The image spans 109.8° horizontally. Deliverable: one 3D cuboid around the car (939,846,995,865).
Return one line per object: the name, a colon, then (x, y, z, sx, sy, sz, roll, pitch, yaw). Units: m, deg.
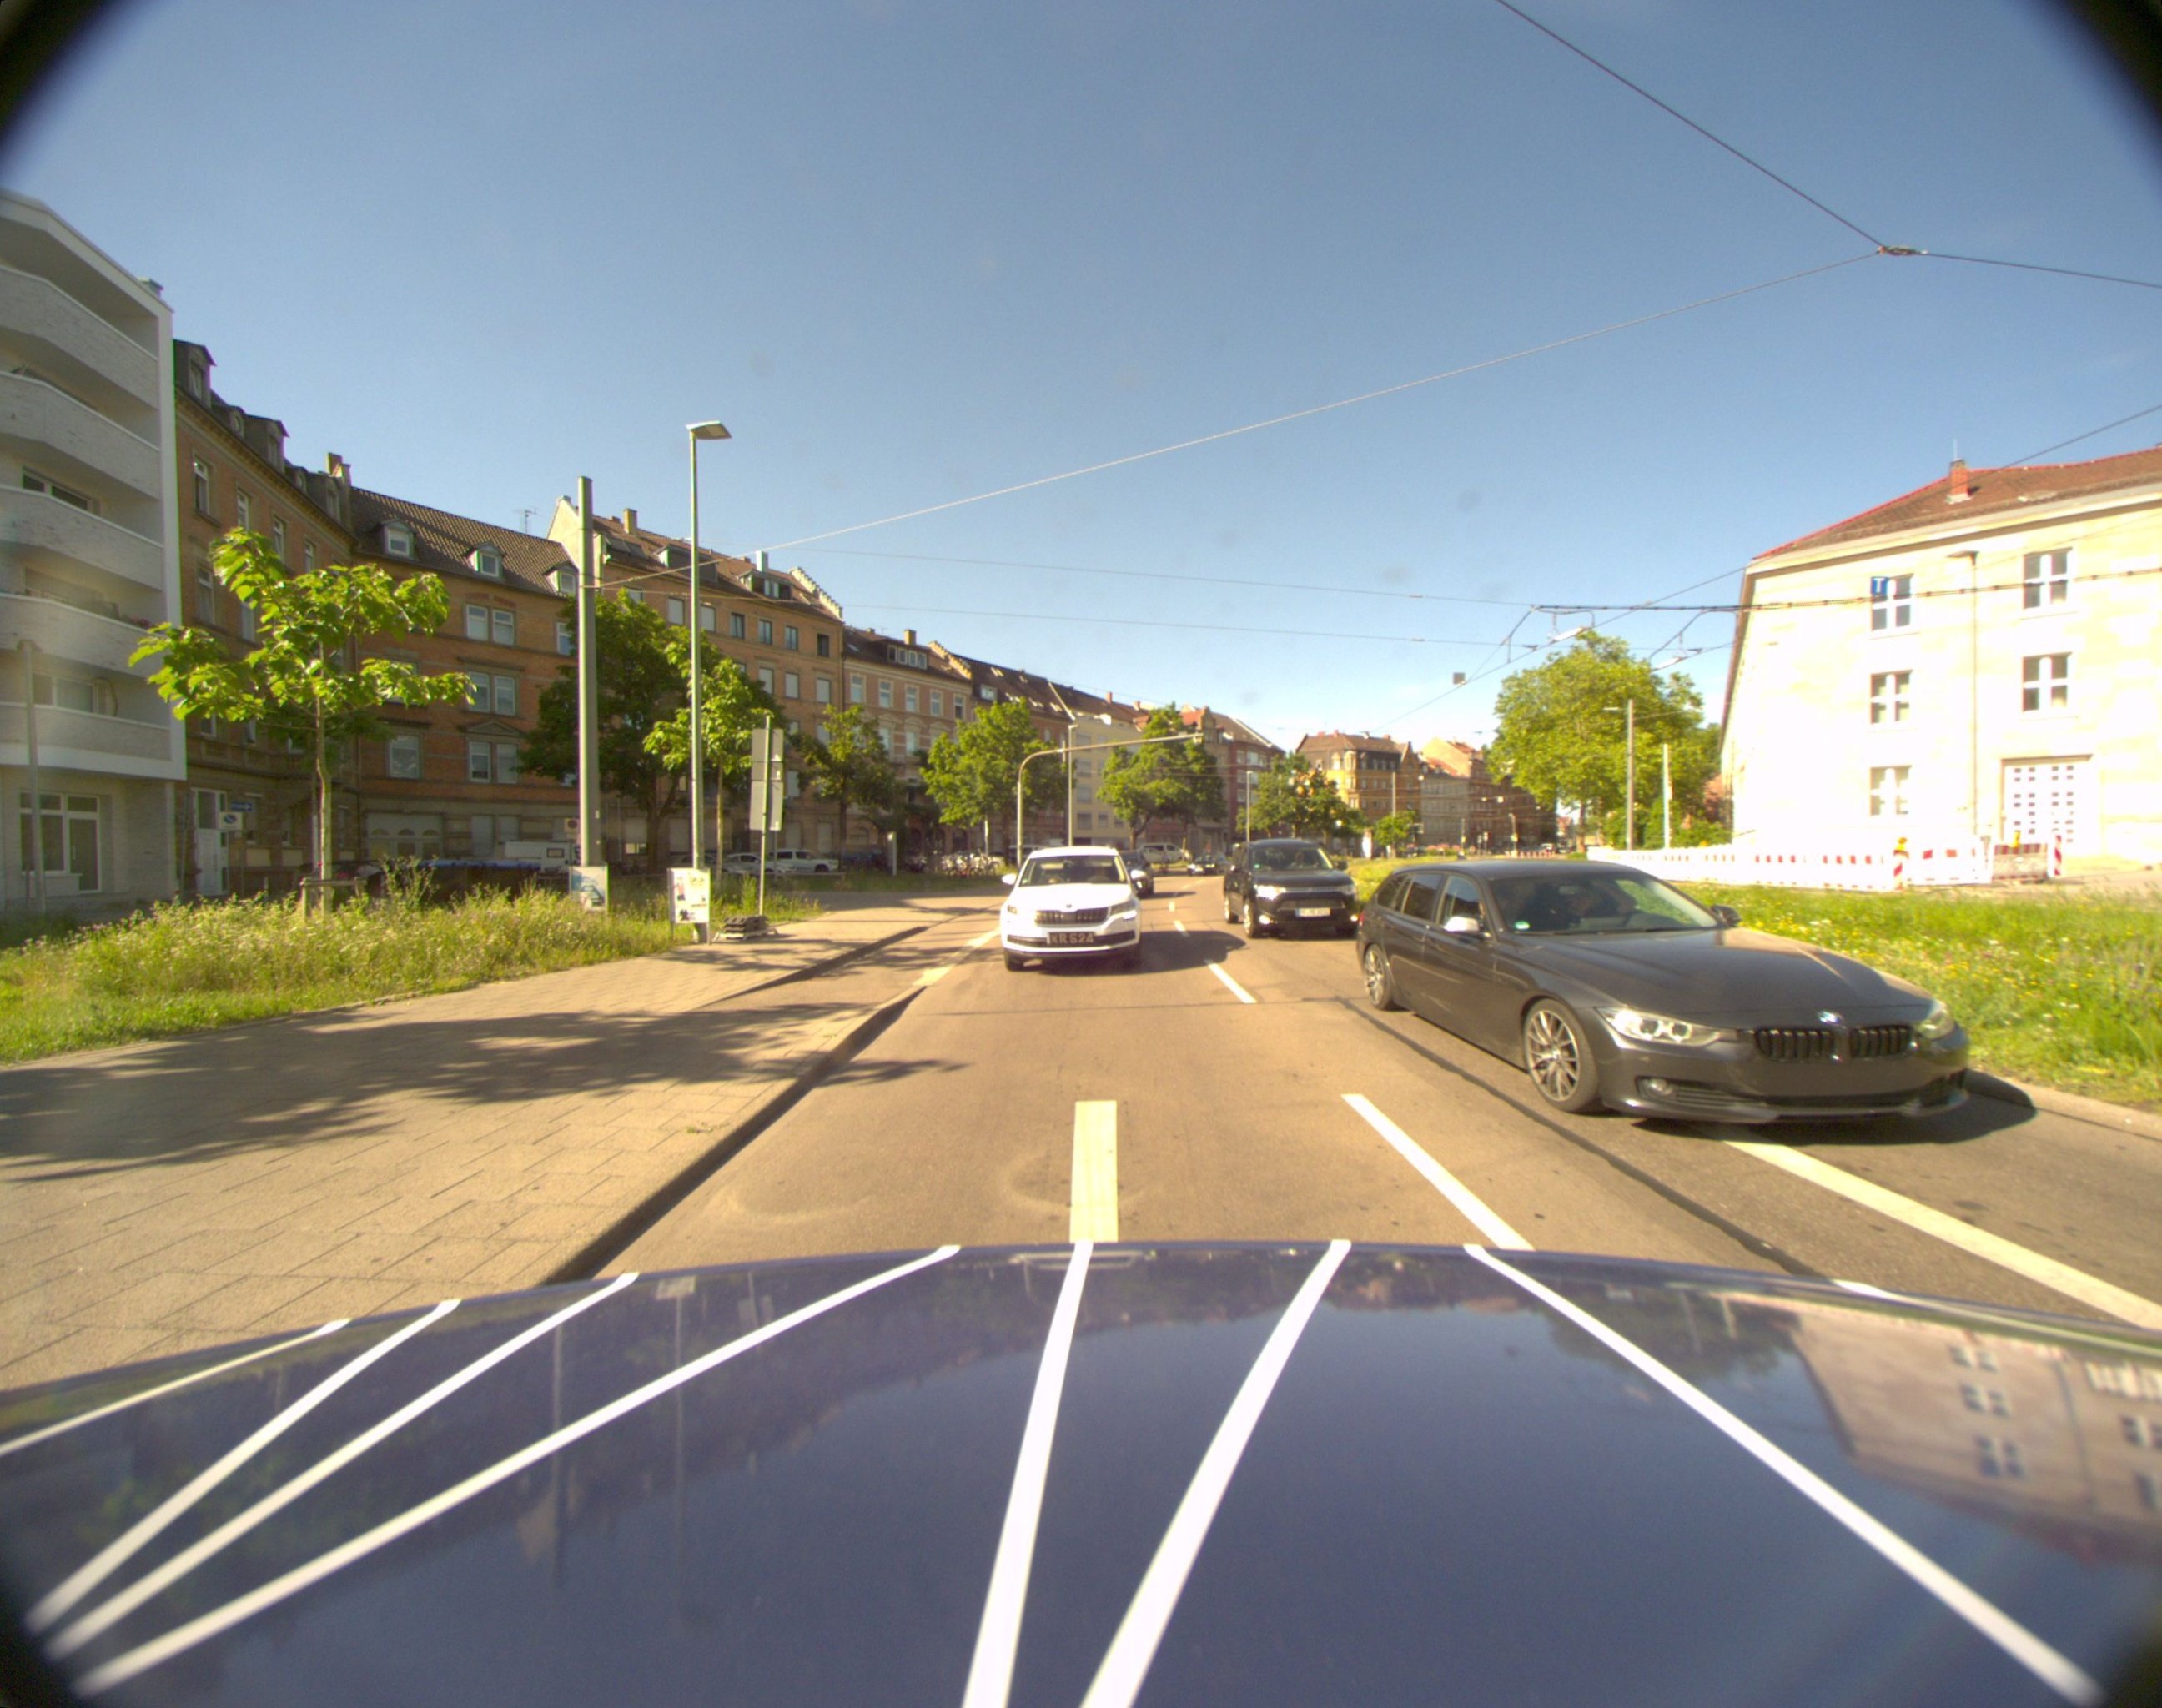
car: (-9.350, 0.123, 62.871, 1.994, 1.520, 4.522, 2, 1, 35)

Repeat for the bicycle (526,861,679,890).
bicycle: (-21.545, 0.928, 34.431, 2.676, 1.120, 5.232, -1, 1, 34)

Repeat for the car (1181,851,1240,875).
car: (8.224, 0.535, 47.949, 1.885, 1.419, 4.385, 0, 1, 35)

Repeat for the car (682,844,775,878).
car: (-21.539, 0.385, 46.561, 1.994, 1.966, 4.734, 2, 1, 39)

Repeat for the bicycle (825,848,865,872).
bicycle: (-14.130, 0.358, 45.486, 2.099, 1.357, 0.787, -1, 1, -2)

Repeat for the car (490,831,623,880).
car: (-27.047, 0.058, 39.349, 2.349, 2.344, 5.199, 2, 1, 40)

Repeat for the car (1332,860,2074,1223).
car: (3.454, 0.842, 5.548, 1.738, 1.415, 4.467, -4, 0, 1)

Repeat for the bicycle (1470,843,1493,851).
bicycle: (73.028, -1.223, 138.550, 1.964, 1.408, 6.841, 1, 1, 43)

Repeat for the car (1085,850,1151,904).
car: (1.230, 0.703, 25.375, 1.998, 1.608, 4.264, -1, 1, 3)

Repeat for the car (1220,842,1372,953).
car: (3.735, 0.663, 14.045, 1.840, 1.672, 4.644, -2, 0, 5)

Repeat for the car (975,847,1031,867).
car: (-5.539, 0.220, 53.975, 3.610, 1.372, 1.926, -1, 1, 6)

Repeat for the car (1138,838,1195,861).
car: (7.973, -0.450, 70.847, 5.179, 2.002, 2.102, 1, 2, 10)

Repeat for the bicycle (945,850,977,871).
bicycle: (-7.383, 0.379, 46.607, 1.957, 1.185, 0.843, 2, 2, 39)

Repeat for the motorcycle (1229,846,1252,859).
motorcycle: (17.287, -0.185, 82.382, 2.262, 1.412, 0.854, 0, 1, -10)

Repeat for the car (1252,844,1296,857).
car: (22.982, -0.401, 90.494, 4.874, 1.427, 2.021, 1, 1, 6)

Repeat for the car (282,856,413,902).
car: (-25.764, 0.816, 26.891, 2.002, 1.428, 4.099, -2, 1, -24)

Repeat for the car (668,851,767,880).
car: (-17.582, 0.538, 36.845, 4.049, 1.329, 1.841, -1, 1, 13)

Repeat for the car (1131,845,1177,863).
car: (6.524, -0.034, 68.073, 4.025, 1.470, 1.813, 1, 2, 5)

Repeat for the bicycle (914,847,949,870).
bicycle: (-9.060, 0.290, 45.960, 2.094, 1.357, 0.789, -1, 1, 34)

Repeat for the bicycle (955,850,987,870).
bicycle: (-6.854, 0.361, 47.369, 1.945, 1.174, 0.902, 1, 2, 38)

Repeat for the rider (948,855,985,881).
rider: (-5.516, 0.662, 36.668, 1.678, 1.169, 0.502, -4, 3, -34)

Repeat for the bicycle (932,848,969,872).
bicycle: (-7.586, 0.340, 44.127, 2.094, 1.357, 0.789, 0, 1, 34)

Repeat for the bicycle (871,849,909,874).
bicycle: (-10.868, 0.439, 43.170, 2.094, 1.390, 0.789, -1, 1, 28)

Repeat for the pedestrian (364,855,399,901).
pedestrian: (-24.850, 0.837, 26.987, 0.641, 1.568, 0.773, 0, 2, 39)

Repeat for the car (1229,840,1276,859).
car: (19.116, -0.541, 84.827, 4.875, 2.063, 2.021, 1, 1, 4)

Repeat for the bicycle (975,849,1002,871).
bicycle: (-5.590, 0.364, 45.895, 1.598, 1.283, 0.769, 0, 1, -11)

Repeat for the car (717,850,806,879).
car: (-16.366, 0.534, 39.014, 3.838, 1.433, 1.761, -1, 1, 8)

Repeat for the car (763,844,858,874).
car: (-14.665, 0.255, 41.345, 4.464, 1.556, 1.939, -1, 1, 8)

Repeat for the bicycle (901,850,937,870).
bicycle: (-9.658, 0.378, 45.160, 2.163, 1.151, 0.824, -1, 1, 35)

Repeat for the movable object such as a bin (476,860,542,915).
movable object such as a bin: (-15.393, 0.872, 20.498, 1.306, 1.390, 1.069, -1, 1, -31)

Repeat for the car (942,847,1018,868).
car: (-6.797, 0.241, 51.431, 4.747, 1.372, 2.047, -1, 1, 5)

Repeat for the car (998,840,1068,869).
car: (-3.518, 0.020, 56.256, 4.874, 2.002, 2.101, 1, 2, 5)

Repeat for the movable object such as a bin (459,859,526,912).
movable object such as a bin: (-16.364, 0.857, 21.178, 1.323, 1.390, 1.108, -1, 1, -31)

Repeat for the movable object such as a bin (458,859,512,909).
movable object such as a bin: (-17.319, 0.860, 22.105, 1.092, 1.390, 1.029, -1, 1, -31)

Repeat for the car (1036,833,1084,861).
car: (-1.980, -0.628, 71.842, 1.994, 2.570, 4.522, 2, 2, 40)

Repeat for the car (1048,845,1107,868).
car: (-0.258, 0.167, 61.298, 4.505, 1.718, 2.001, 1, 2, 10)

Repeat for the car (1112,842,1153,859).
car: (5.544, -0.386, 81.351, 1.994, 1.789, 4.636, 2, 1, 38)

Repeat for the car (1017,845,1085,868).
car: (-2.303, 0.161, 58.787, 4.872, 1.639, 2.102, 1, 2, 10)

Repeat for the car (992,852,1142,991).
car: (-0.052, 0.823, 11.443, 1.801, 1.626, 4.394, -1, 1, 3)

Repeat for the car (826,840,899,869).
car: (-15.505, 0.018, 54.155, 1.994, 1.966, 4.734, 2, 1, 38)

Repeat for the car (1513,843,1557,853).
car: (64.675, -0.858, 108.289, 1.839, 1.445, 4.946, -1, 2, -43)
